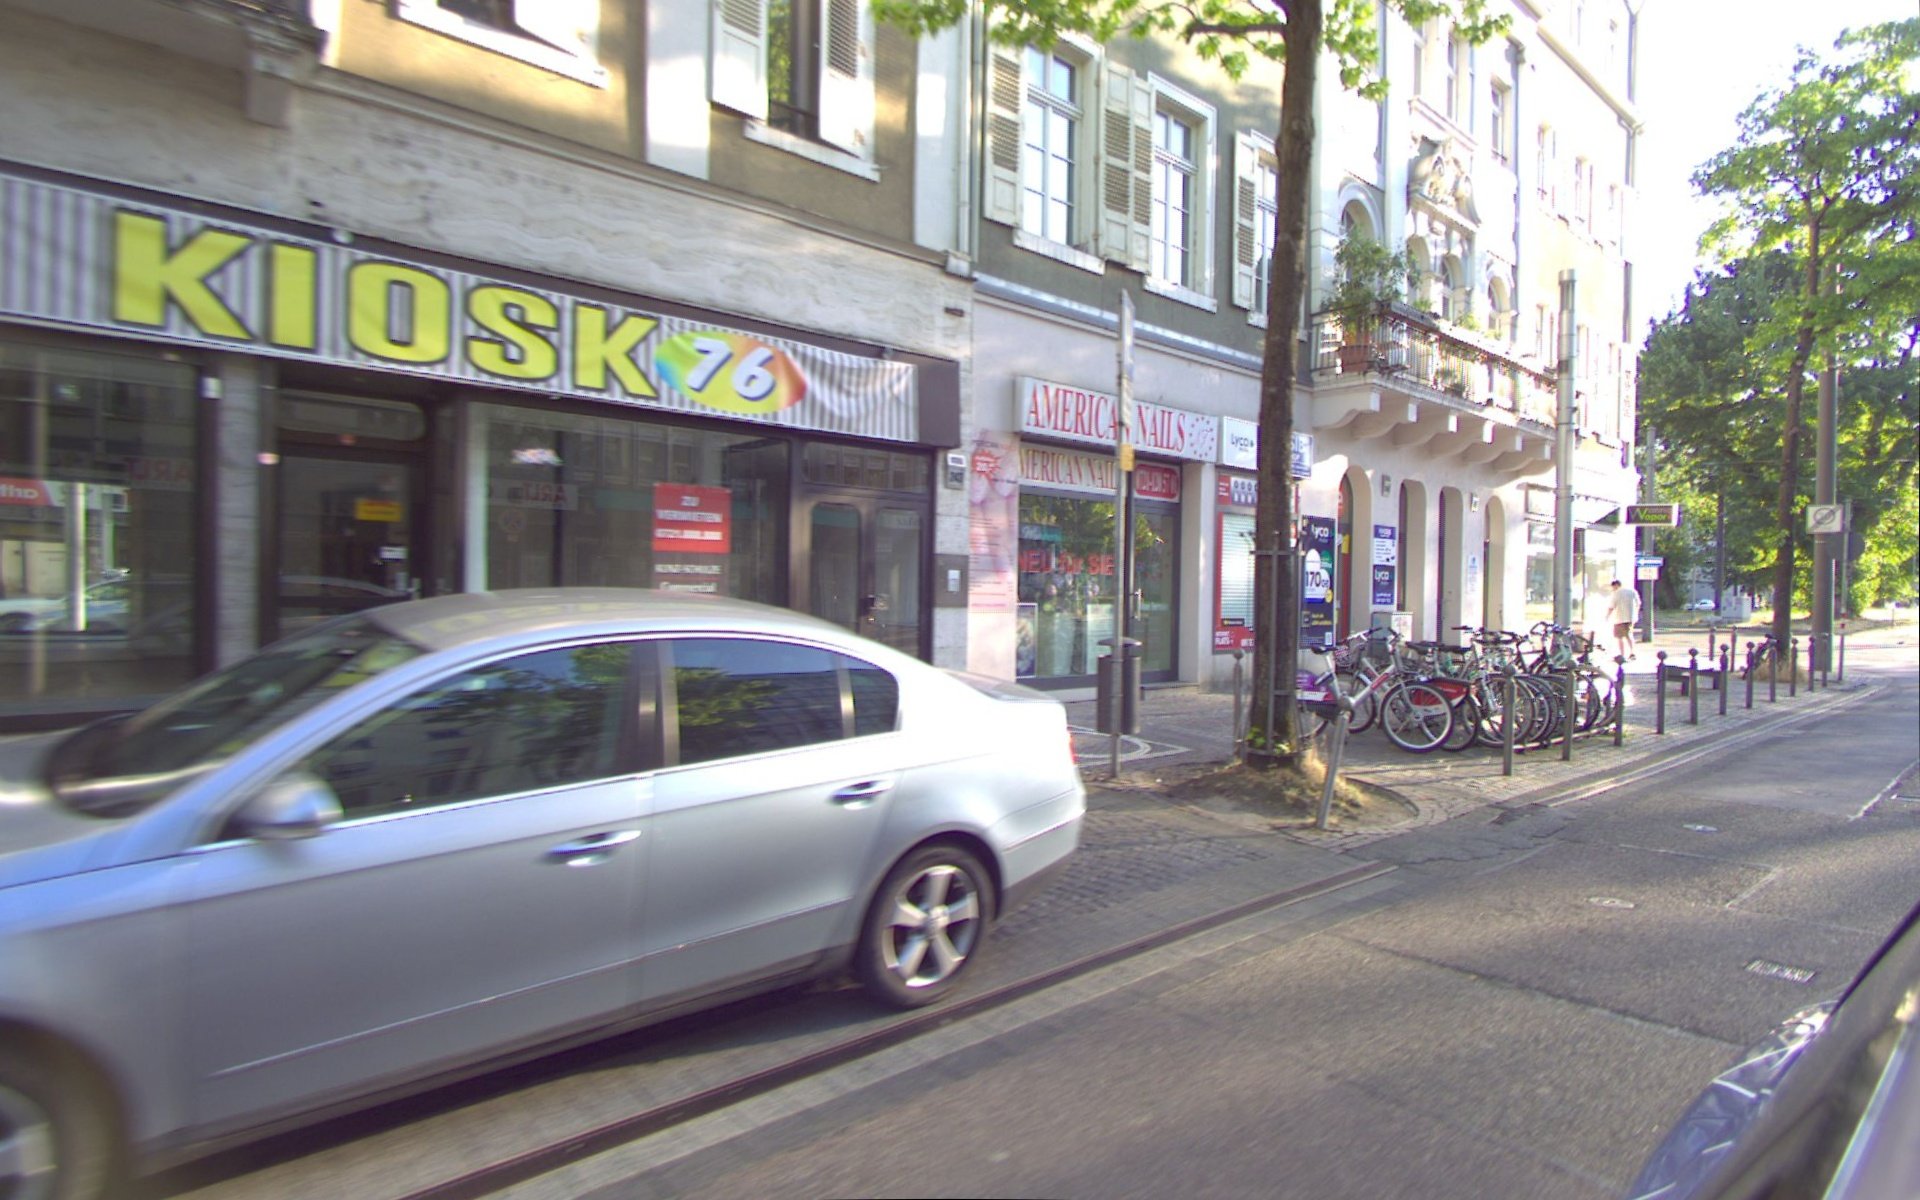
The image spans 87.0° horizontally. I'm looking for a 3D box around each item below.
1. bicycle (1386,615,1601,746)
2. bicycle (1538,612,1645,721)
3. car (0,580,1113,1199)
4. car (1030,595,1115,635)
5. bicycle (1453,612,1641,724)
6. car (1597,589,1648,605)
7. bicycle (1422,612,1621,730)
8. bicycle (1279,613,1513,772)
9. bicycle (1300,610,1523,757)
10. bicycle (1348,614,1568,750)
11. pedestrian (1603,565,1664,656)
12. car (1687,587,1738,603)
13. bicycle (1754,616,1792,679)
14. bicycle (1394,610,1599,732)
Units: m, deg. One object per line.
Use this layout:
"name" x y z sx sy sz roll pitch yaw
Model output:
"bicycle" 5.344 0.760 10.252 0.552 1.169 1.870 0 0 -38
"bicycle" 7.496 0.745 12.085 0.454 1.169 1.677 0 0 9
"car" -1.601 0.698 3.497 4.345 1.457 1.780 -1 4 -40
"car" 6.027 0.745 54.485 1.965 2.039 4.430 -1 1 -40
"bicycle" 6.673 0.734 11.604 0.341 1.169 1.870 0 0 -38
"car" 69.218 -0.280 105.770 4.428 1.626 2.004 -1 0 -14
"bicycle" 6.207 0.740 11.288 0.552 1.169 1.870 0 0 -38
"bicycle" 3.856 0.760 9.108 0.552 1.168 1.871 0 3 -38
"bicycle" 4.248 0.730 9.664 0.552 1.168 1.871 0 3 -38
"bicycle" 4.810 0.741 9.898 0.552 1.169 1.870 0 0 -38
"pedestrian" 15.392 0.230 23.136 0.831 2.039 0.842 -1 0 6
"car" 81.033 -0.544 108.960 4.428 1.626 2.004 -1 0 -14
"bicycle" 15.446 0.881 19.209 1.671 1.090 0.354 -1 0 -44
"bicycle" 5.686 0.705 10.832 0.552 1.169 1.870 0 0 -38
